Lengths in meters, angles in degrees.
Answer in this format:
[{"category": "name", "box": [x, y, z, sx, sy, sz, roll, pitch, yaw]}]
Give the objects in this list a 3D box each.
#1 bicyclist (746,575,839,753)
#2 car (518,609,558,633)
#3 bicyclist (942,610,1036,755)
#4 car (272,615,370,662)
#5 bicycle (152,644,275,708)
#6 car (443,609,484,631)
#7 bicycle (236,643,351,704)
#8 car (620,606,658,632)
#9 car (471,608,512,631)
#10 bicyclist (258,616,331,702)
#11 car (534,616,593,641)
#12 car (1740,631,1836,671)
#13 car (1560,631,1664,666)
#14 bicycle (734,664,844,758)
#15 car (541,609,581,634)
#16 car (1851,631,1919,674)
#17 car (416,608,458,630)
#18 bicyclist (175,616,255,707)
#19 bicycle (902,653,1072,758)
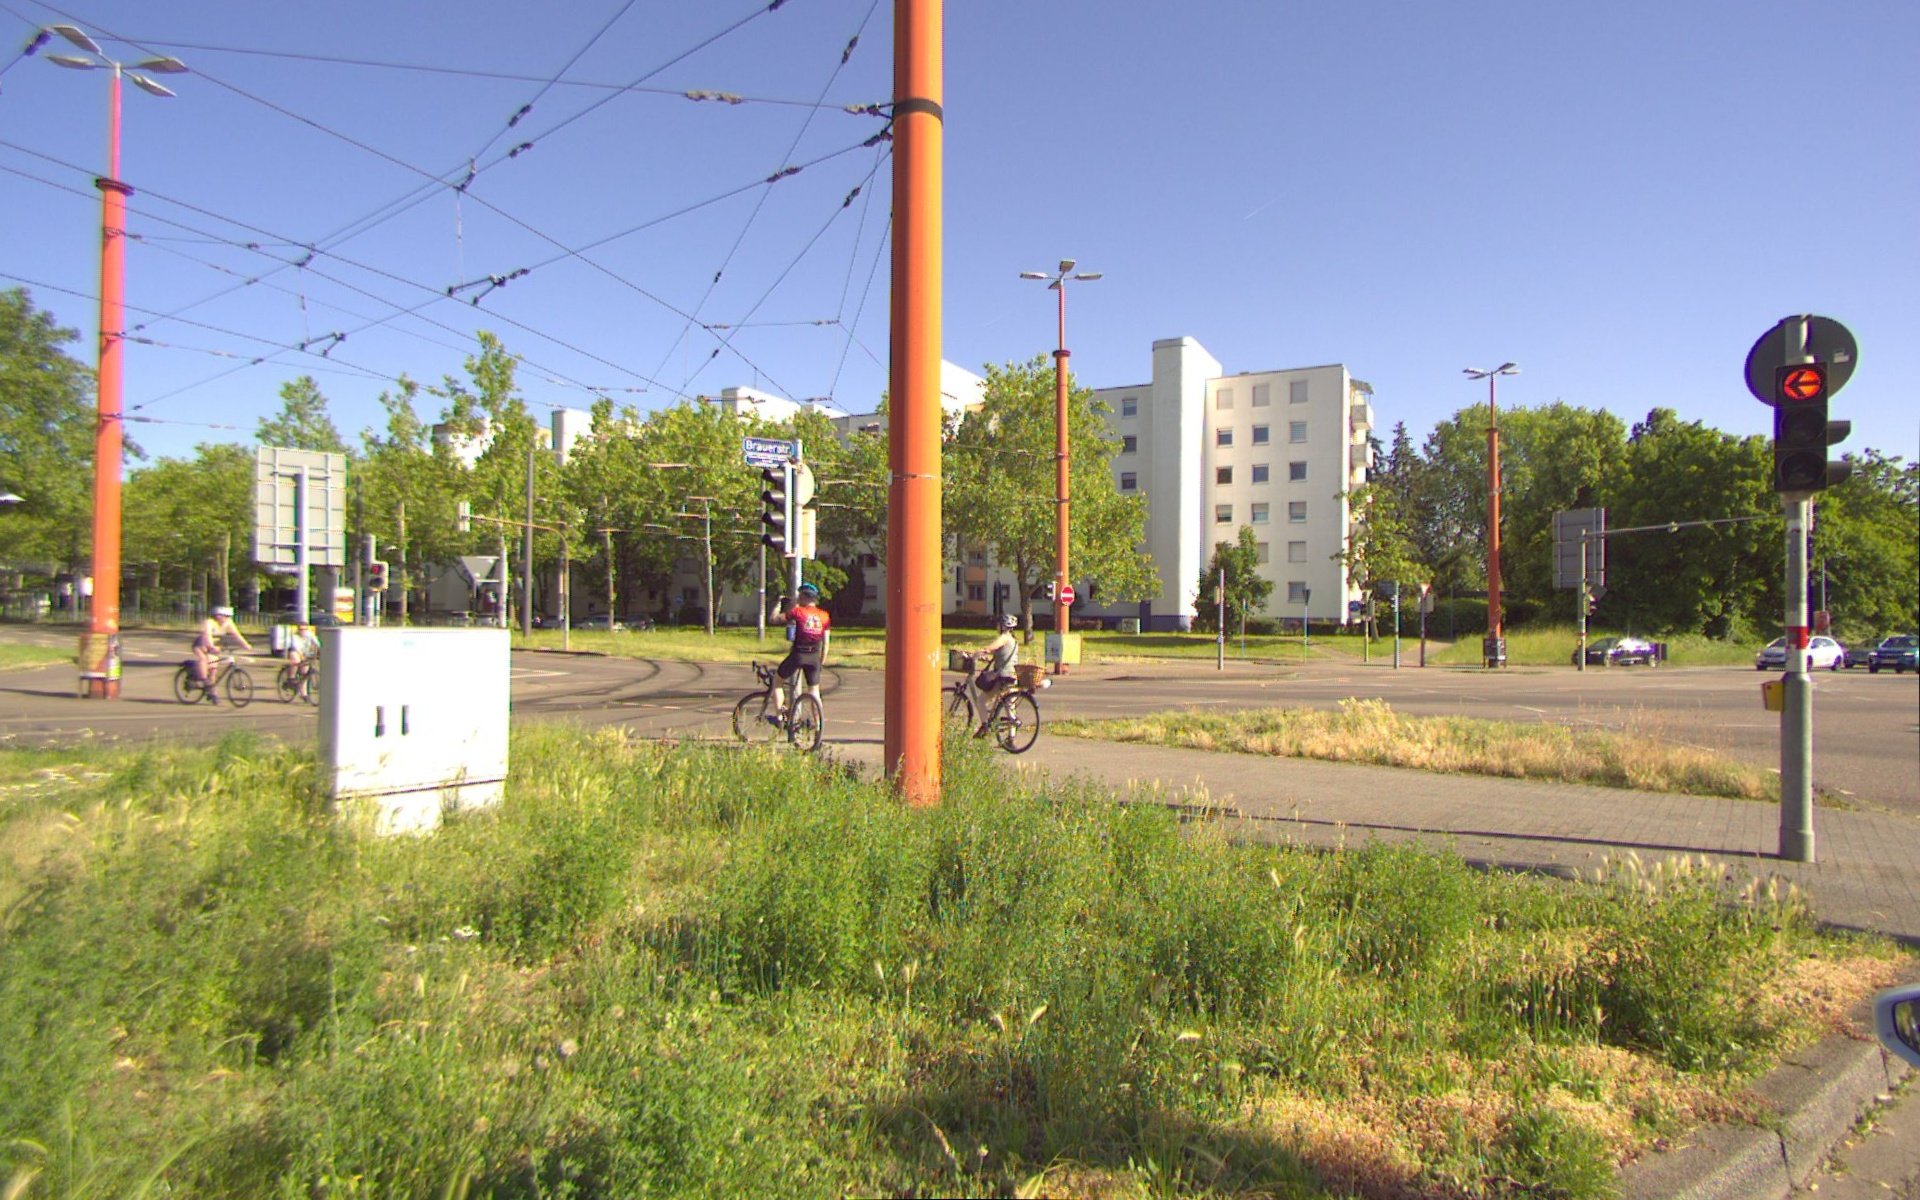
[{"category": "bicyclist", "box": [-2.007, 0.744, 12.007, 0.921, 2.040, 0.736, 1, -1, -25]}, {"category": "car", "box": [-33.808, 1.670, 80.530, 1.963, 1.840, 3.995, 1, -1, -8]}, {"category": "bicyclist", "box": [0.358, 0.955, 12.099, 0.728, 1.659, 0.931, 0, -1, 35]}, {"category": "car", "box": [-23.357, 1.374, 36.684, 3.848, 1.615, 1.935, 0, -2, 39]}, {"category": "bicycle", "box": [-14.030, 1.410, 18.897, 1.849, 1.102, 0.928, 0, -1, 18]}, {"category": "car", "box": [-42.673, 1.699, 86.450, 1.963, 1.840, 3.995, 1, -1, -8]}, {"category": "bicycle", "box": [-13.252, 1.440, 19.982, 1.849, 1.102, 0.928, 0, -1, 18]}, {"category": "car", "box": [-23.403, 1.399, 73.419, 1.963, 1.840, 3.995, 1, -1, -8]}, {"category": "car", "box": [-39.284, 1.641, 84.328, 1.963, 1.840, 3.995, 1, -1, -8]}, {"category": "bicyclist", "box": [-13.213, 1.160, 19.970, 0.726, 1.659, 0.934, 0, -1, 18]}, {"category": "car", "box": [-25.138, 1.790, 63.584, 4.160, 1.471, 1.790, 0, -2, 42]}, {"category": "car", "box": [35.144, 2.151, 42.607, 4.075, 1.594, 1.983, 1, -1, -32]}, {"category": "car", "box": [31.213, 2.303, 48.106, 4.154, 1.619, 1.992, 1, -1, -18]}, {"category": "bicycle", "box": [-2.116, 1.305, 12.238, 0.915, 0.976, 1.747, 1, -1, -24]}, {"category": "car", "box": [-31.193, 1.675, 78.681, 1.963, 1.840, 3.995, 1, -1, -8]}, {"category": "car", "box": [37.267, 2.039, 39.866, 4.079, 1.594, 1.981, 2, -1, -35]}, {"category": "car", "box": [-46.022, 1.675, 88.479, 1.963, 1.840, 3.995, 1, -1, -8]}, {"category": "bicyclist", "box": [-14.003, 1.131, 18.899, 0.726, 1.659, 0.934, 0, -1, 18]}, {"category": "bicycle", "box": [0.313, 1.225, 12.123, 1.855, 1.102, 0.925, 0, -1, 34]}]
